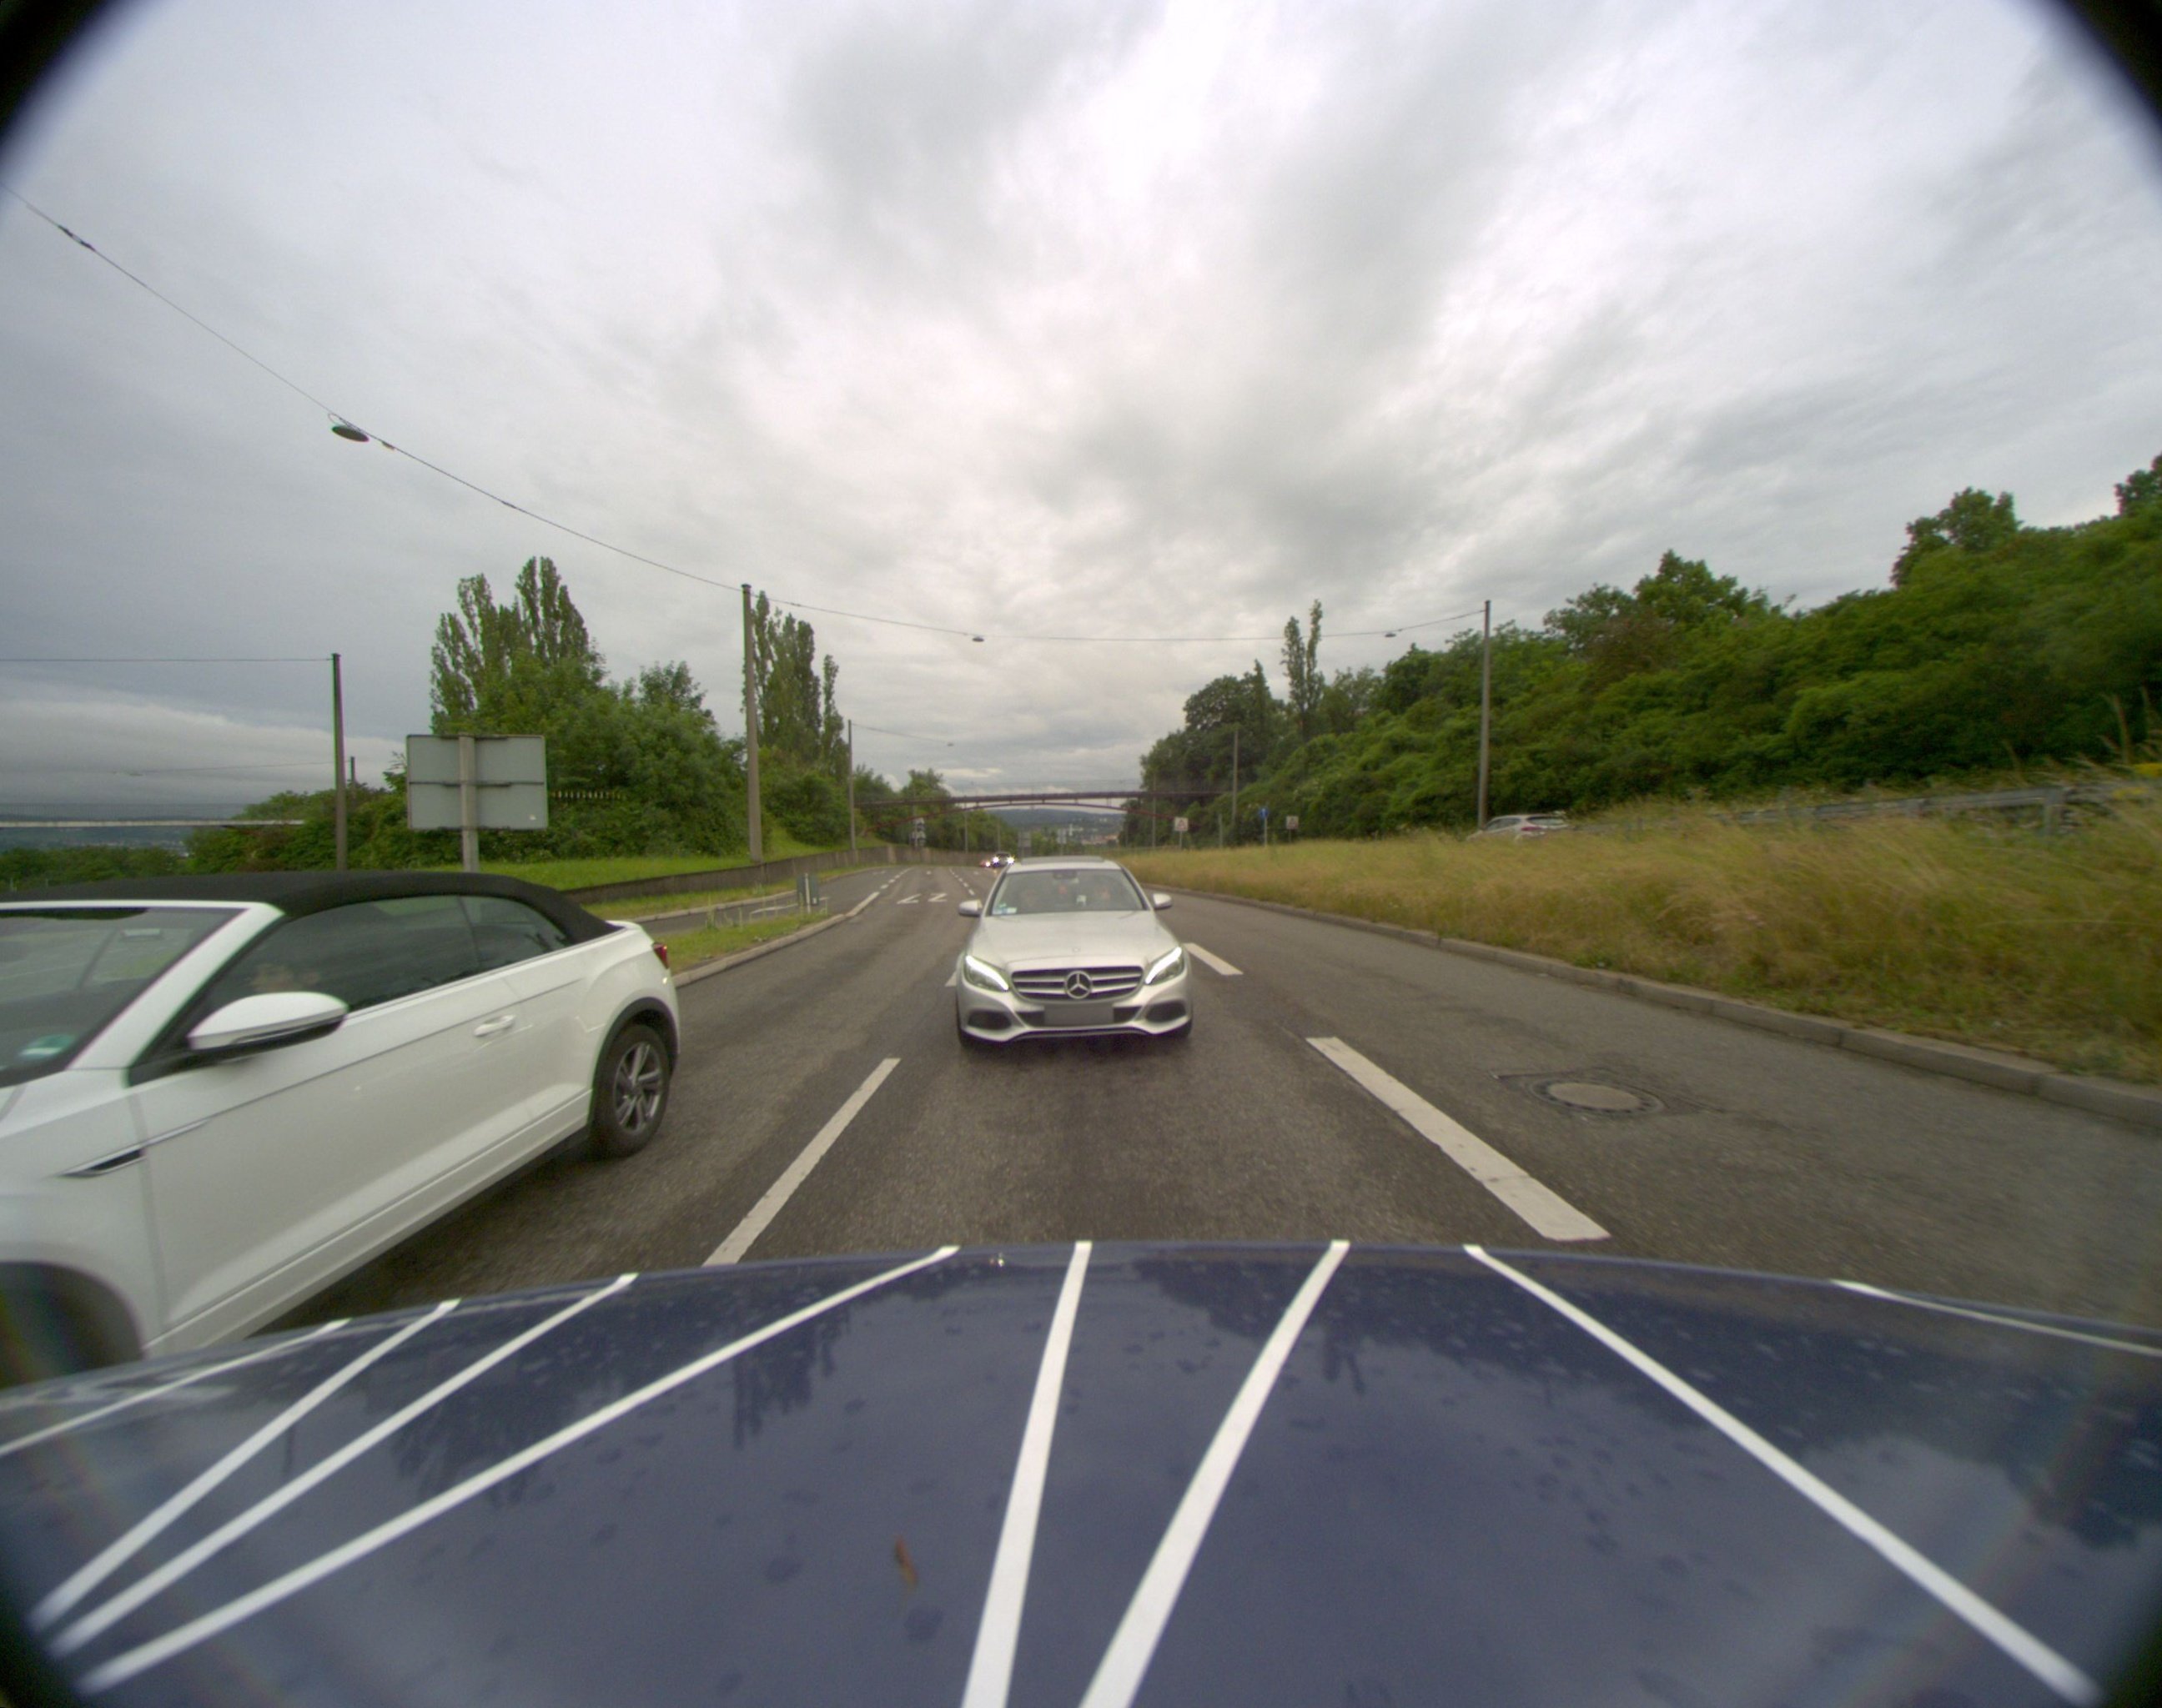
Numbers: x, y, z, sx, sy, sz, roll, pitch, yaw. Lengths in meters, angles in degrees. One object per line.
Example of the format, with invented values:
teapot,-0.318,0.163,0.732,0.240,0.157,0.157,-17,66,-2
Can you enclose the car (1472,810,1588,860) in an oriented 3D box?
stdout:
car,15.388,-0.616,26.286,1.740,1.508,3.677,4,0,0

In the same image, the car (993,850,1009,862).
car,-11.134,0.301,106.156,1.943,1.468,3.997,-5,0,-9

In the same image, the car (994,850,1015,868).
car,-7.541,0.492,75.237,1.912,1.668,3.998,-4,0,-6

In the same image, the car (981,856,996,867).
car,-15.594,1.293,128.400,1.999,1.652,3.999,-4,0,-2

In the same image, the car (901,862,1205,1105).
car,-0.093,0.847,6.860,1.894,1.361,4.134,-1,2,2

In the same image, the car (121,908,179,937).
car,-69.163,5.041,56.528,2.003,1.837,4.811,-5,1,-43

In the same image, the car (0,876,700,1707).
car,-3.089,0.987,2.349,1.718,1.544,4.227,-2,2,-2
